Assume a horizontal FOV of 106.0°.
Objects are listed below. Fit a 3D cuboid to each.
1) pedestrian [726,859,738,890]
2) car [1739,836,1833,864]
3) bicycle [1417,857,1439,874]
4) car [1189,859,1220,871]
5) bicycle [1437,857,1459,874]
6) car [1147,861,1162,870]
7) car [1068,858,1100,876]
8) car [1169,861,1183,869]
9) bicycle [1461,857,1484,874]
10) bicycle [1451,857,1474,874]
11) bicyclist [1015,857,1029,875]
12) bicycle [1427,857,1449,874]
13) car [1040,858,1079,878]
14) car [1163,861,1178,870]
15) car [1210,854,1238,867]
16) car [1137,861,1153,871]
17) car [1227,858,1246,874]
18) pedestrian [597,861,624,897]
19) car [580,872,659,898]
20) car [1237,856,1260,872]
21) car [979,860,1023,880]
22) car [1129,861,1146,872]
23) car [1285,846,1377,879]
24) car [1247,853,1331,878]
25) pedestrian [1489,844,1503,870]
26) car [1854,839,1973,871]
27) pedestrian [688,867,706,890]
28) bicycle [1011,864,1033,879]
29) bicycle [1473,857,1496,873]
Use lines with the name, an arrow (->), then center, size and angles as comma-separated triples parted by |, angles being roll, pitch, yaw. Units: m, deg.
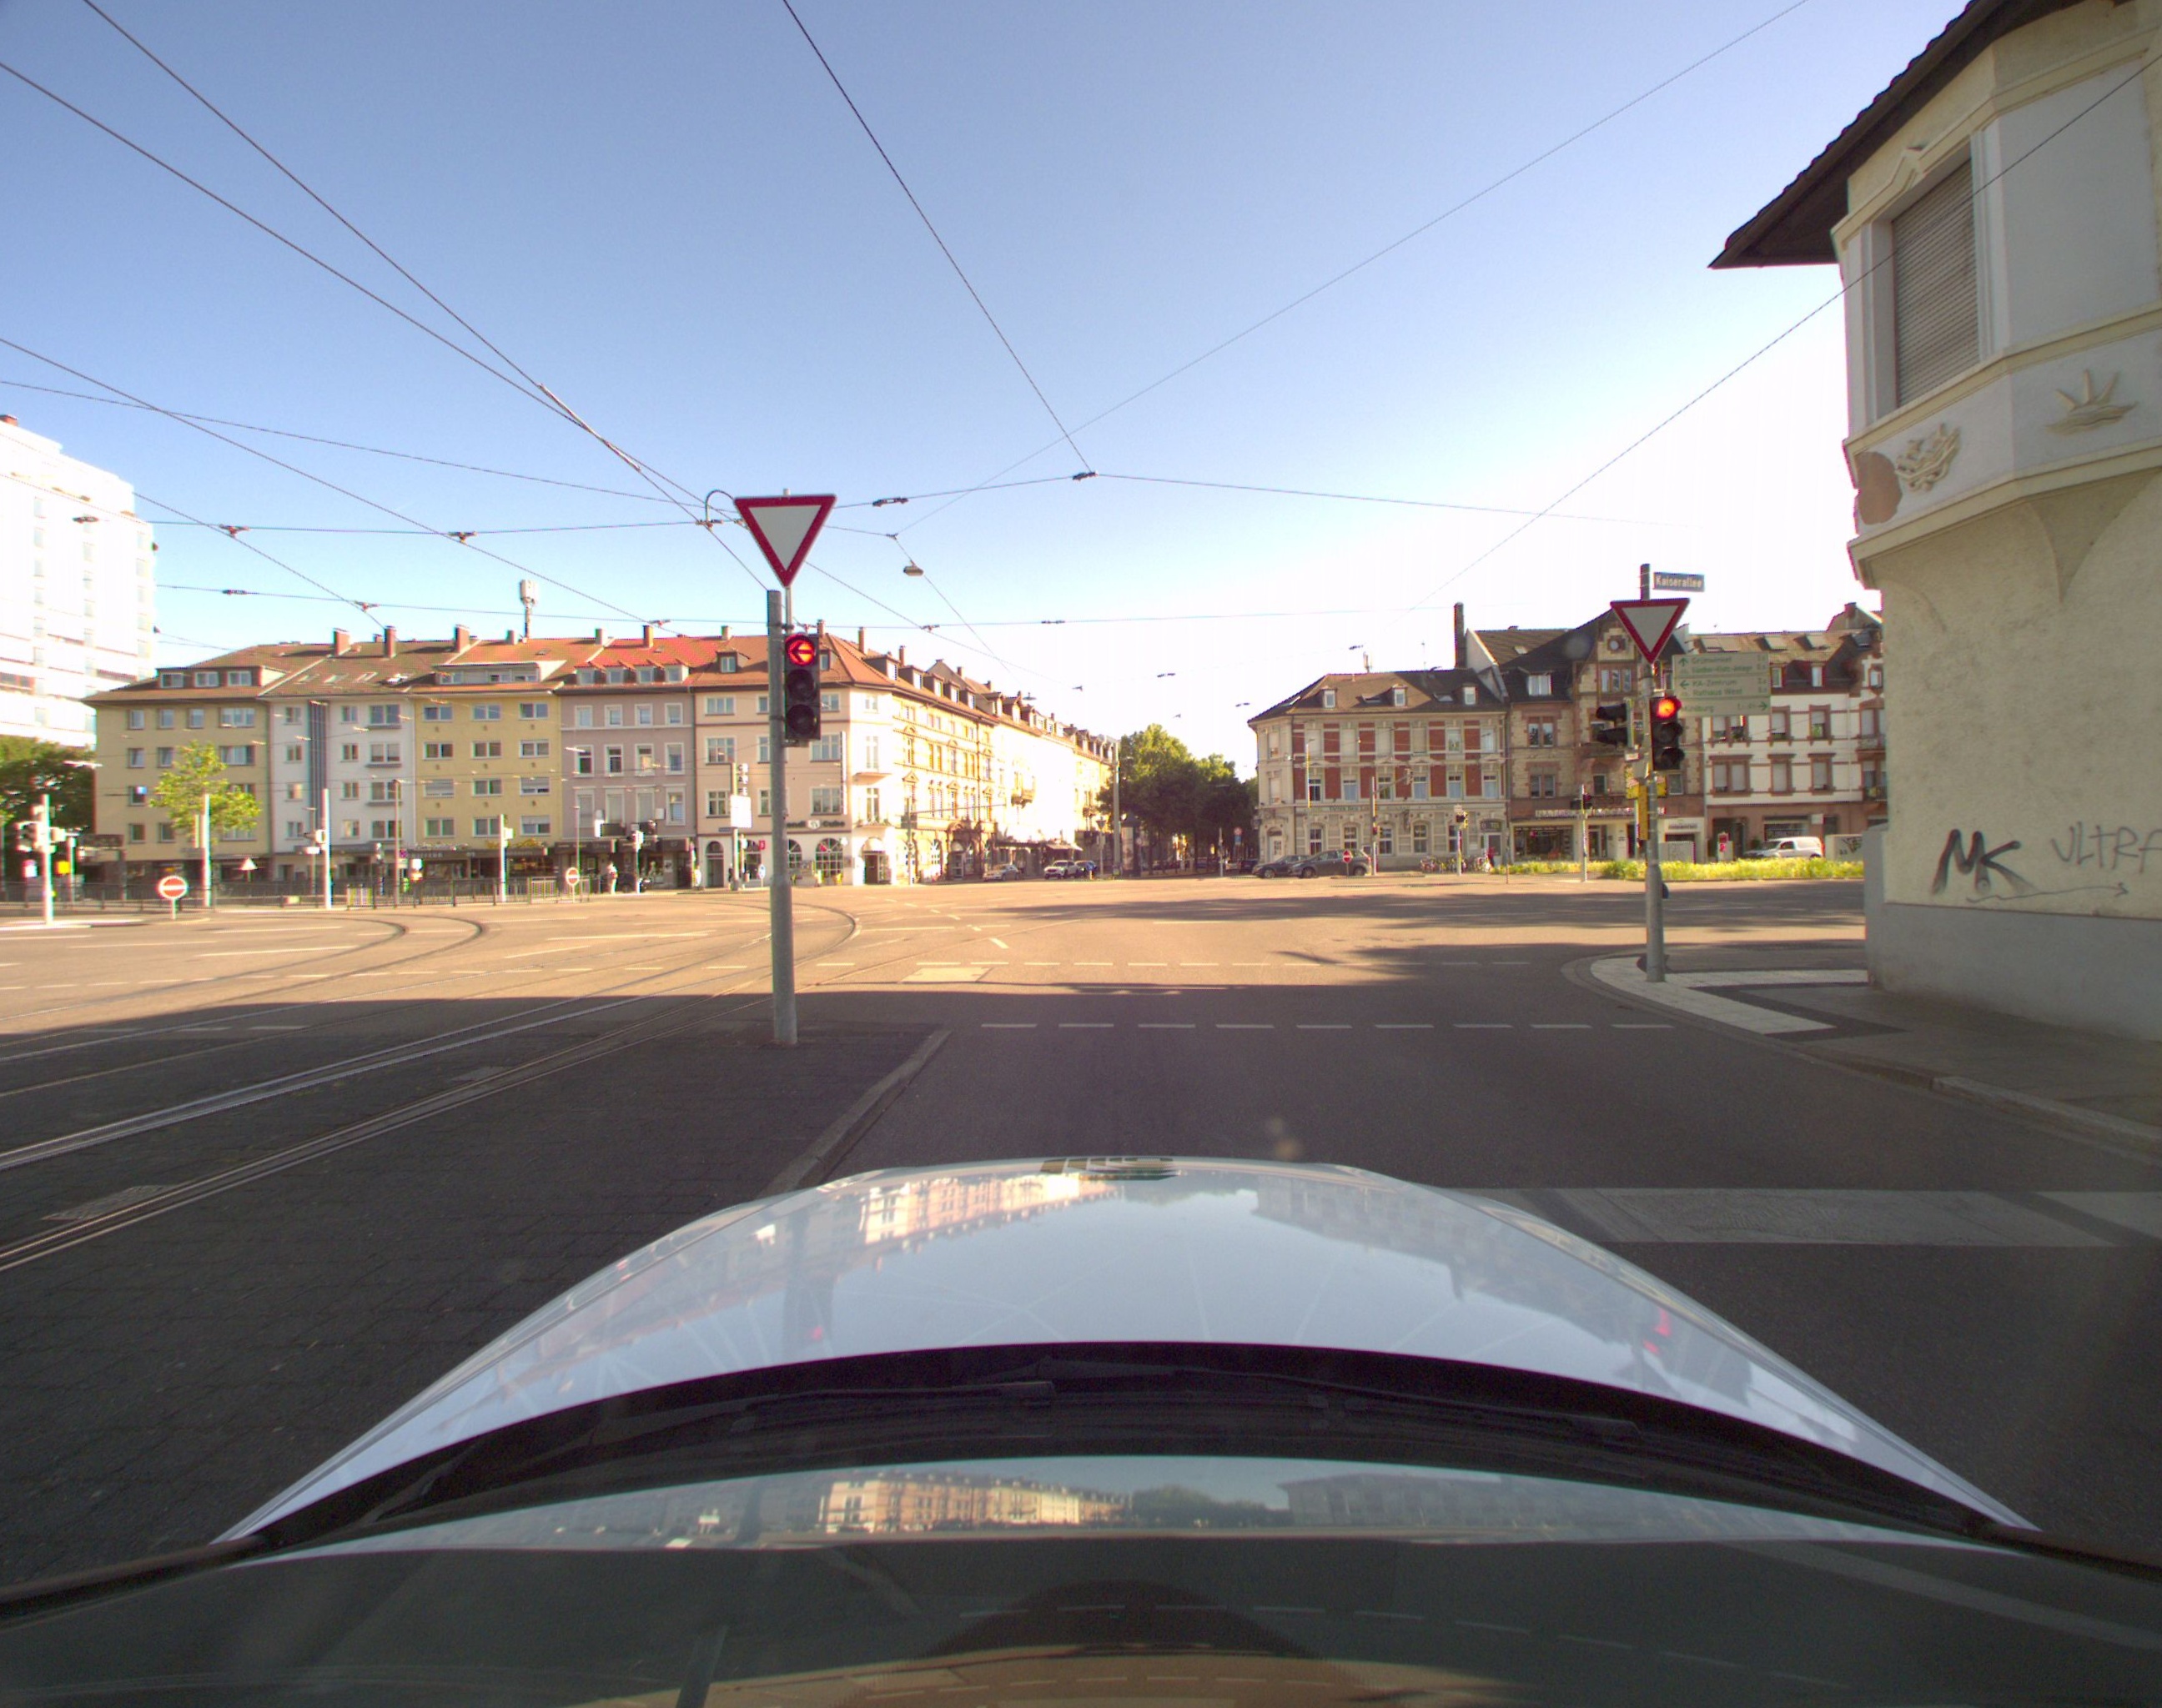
pedestrian -> -22.778, 1.357, 53.128 | 0.506, 2.013, 0.505 | -1, 0, 5
car -> 45.384, -0.236, 52.479 | 4.356, 1.654, 1.999 | -1, 0, -2
bicycle -> 22.496, 0.736, 52.846 | 0.603, 1.051, 1.641 | -1, 0, -3
car -> 17.486, 1.522, 114.999 | 4.078, 1.646, 1.754 | 1, 0, 17
bicycle -> 23.812, 0.727, 52.876 | 0.603, 1.051, 1.641 | -1, 0, -3
car -> 11.063, 1.725, 122.716 | 1.729, 1.397, 4.137 | 1, 0, 12
car -> 0.291, 1.149, 73.699 | 1.979, 1.513, 4.015 | -1, 0, 14
car -> 15.864, 1.831, 136.210 | 1.728, 1.397, 4.141 | 1, 0, 16
bicycle -> 25.314, 0.714, 52.626 | 0.603, 1.051, 1.641 | -1, 0, -3
bicycle -> 24.639, 0.718, 52.576 | 0.603, 1.051, 1.641 | -1, 0, -3
bicyclist -> -4.766, 0.985, 65.877 | 0.787, 1.375, 1.113 | -1, 0, 16
bicycle -> 23.149, 0.732, 52.876 | 0.603, 1.051, 1.641 | -1, 0, -3
car -> -1.731, 1.161, 67.376 | 2.080, 1.499, 4.017 | -2, 0, 16
car -> 14.441, 1.807, 131.463 | 1.728, 1.397, 4.141 | 1, 0, 16
car -> 23.372, 1.083, 133.078 | 4.074, 1.919, 1.756 | 1, 0, 23
car -> 9.176, 1.683, 115.779 | 1.729, 1.397, 4.137 | 1, 0, 12
car -> 17.959, 1.405, 93.895 | 1.661, 1.756, 3.776 | -2, 0, 18
pedestrian -> -24.570, 1.310, 42.562 | 0.871, 1.818, 0.811 | -1, 0, 2
car -> -30.275, 1.992, 53.539 | 3.978, 1.464, 1.998 | -2, 0, -4
car -> 16.905, 0.988, 82.058 | 1.637, 1.524, 3.772 | -2, -1, 20
car -> -6.598, 1.302, 67.706 | 2.080, 1.545, 4.382 | -2, 0, 16
car -> 7.602, 1.648, 110.009 | 1.729, 1.397, 4.137 | 1, 0, 12
car -> 13.725, 0.447, 44.916 | 4.494, 1.672, 2.000 | -1, 0, 1
car -> 12.270, 0.646, 48.221 | 4.496, 1.341, 2.000 | -1, 0, 0
pedestrian -> 28.458, 0.184, 55.905 | 0.705, 1.751, 0.421 | -1, 0, 3
car -> 48.507, 0.062, 47.507 | 4.830, 1.660, 2.001 | -1, 0, 1
pedestrian -> -26.616, 1.699, 56.477 | 0.787, 1.527, 0.860 | -1, 0, 2
bicycle -> -4.769, 1.428, 65.906 | 0.745, 1.135, 2.821 | -1, 0, 16
bicycle -> 26.053, 0.708, 52.618 | 0.603, 1.051, 1.641 | -1, 0, -3
